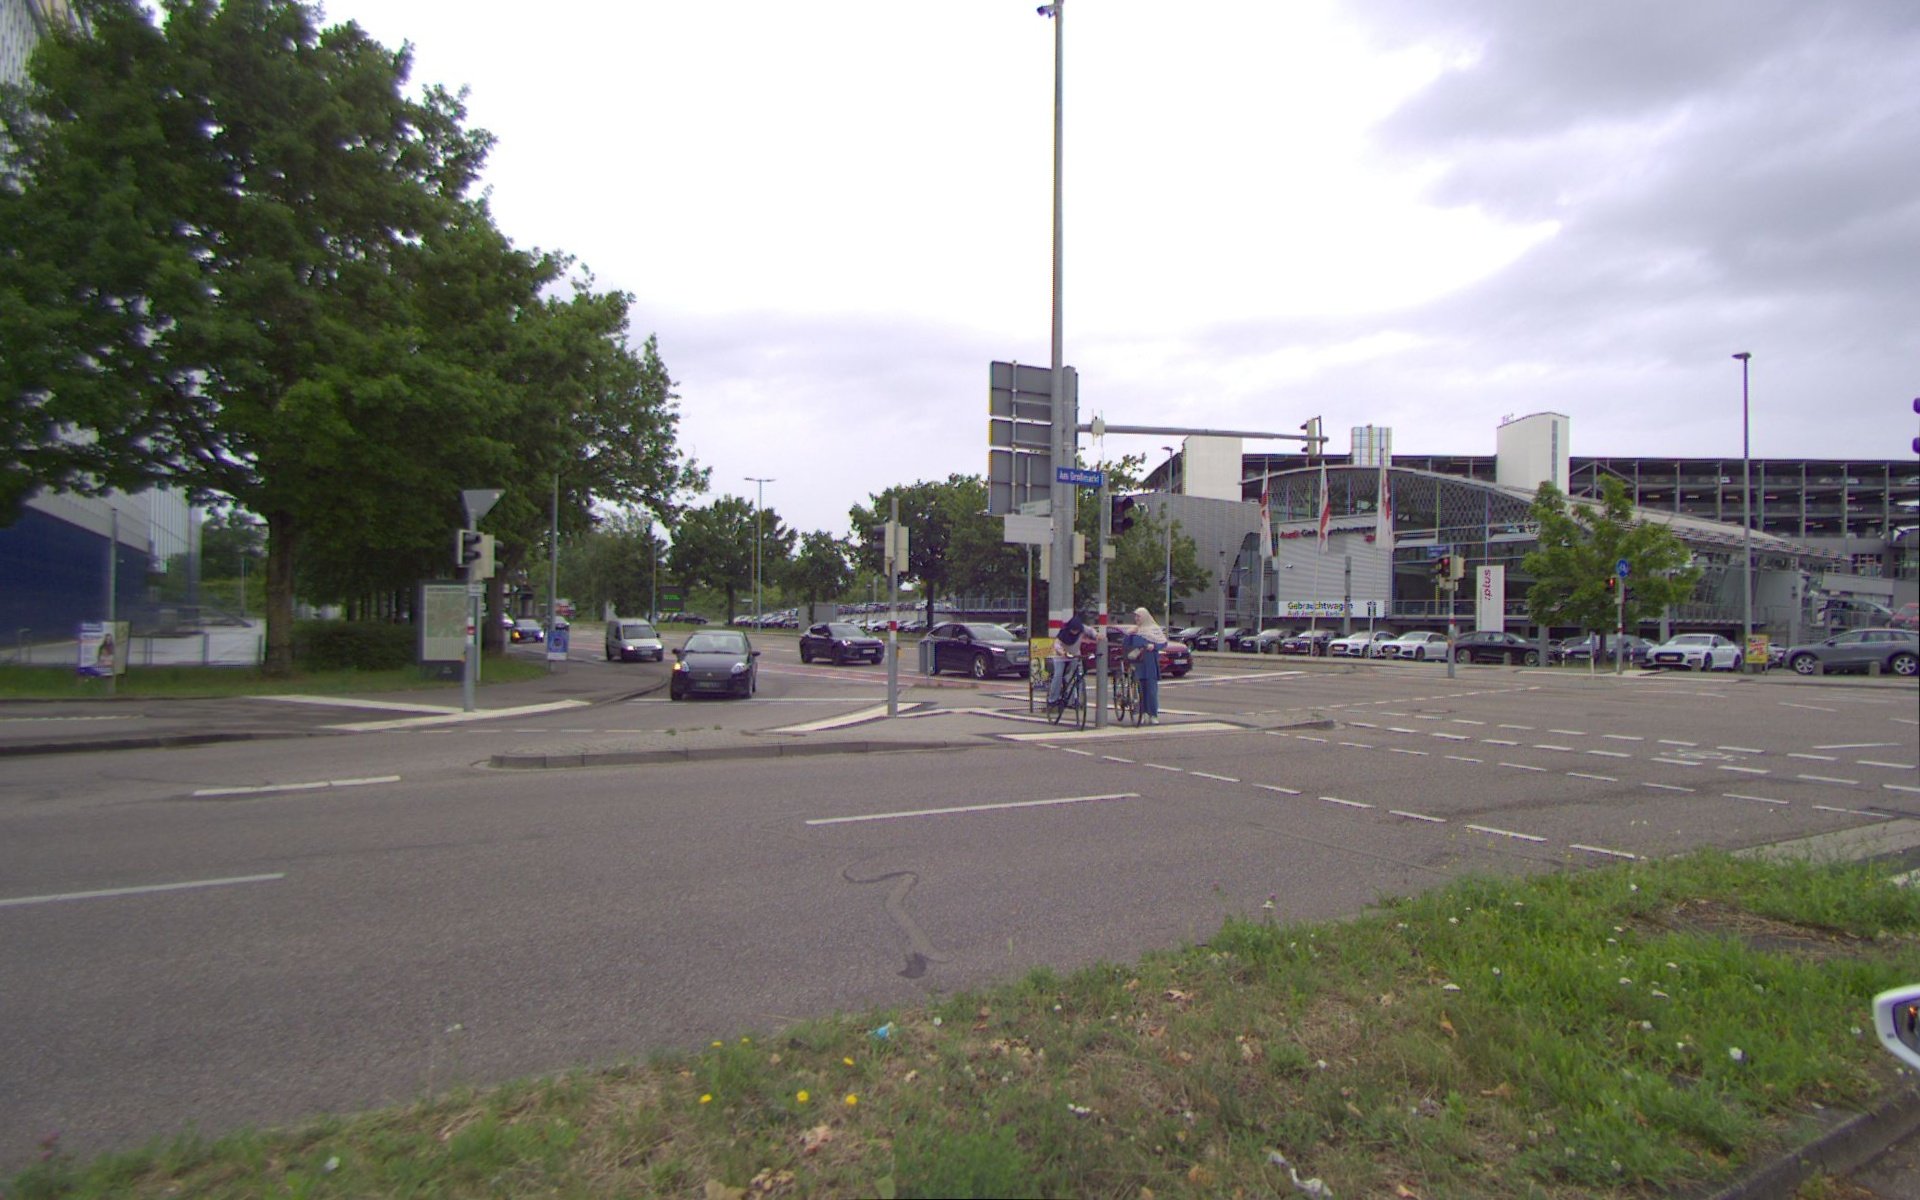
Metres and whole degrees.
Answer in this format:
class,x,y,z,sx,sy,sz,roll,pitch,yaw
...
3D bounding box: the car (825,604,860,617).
class,x,y,z,sx,sy,sz,roll,pitch,yaw
car,-15.217,1.380,130.019,4.058,1.455,1.713,3,0,-35

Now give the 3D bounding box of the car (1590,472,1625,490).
class,x,y,z,sx,sy,sz,roll,pitch,yaw
car,82.955,-15.225,128.659,1.960,1.689,4.001,2,0,2

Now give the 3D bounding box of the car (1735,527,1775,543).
class,x,y,z,sx,sy,sz,roll,pitch,yaw
car,101.005,-8.283,127.619,1.960,1.689,4.001,2,0,2

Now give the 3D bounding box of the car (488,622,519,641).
class,x,y,z,sx,sy,sz,roll,pitch,yaw
car,-44.677,3.087,98.230,1.979,1.616,4.534,-3,2,-33

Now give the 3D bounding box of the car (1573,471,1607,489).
class,x,y,z,sx,sy,sz,roll,pitch,yaw
car,80.563,-15.336,128.538,1.960,1.689,4.001,2,0,2

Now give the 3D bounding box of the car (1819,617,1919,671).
class,x,y,z,sx,sy,sz,roll,pitch,yaw
car,36.914,1.735,39.019,2.243,2.040,4.992,2,-3,-34

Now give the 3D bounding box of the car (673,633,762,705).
class,x,y,z,sx,sy,sz,roll,pitch,yaw
car,-5.241,1.452,22.130,1.696,1.389,3.993,0,-1,-11

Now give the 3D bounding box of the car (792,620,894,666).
class,x,y,z,sx,sy,sz,roll,pitch,yaw
car,-4.449,1.574,37.715,1.868,1.565,4.553,-1,-1,-35

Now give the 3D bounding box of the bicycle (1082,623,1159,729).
class,x,y,z,sx,sy,sz,roll,pitch,yaw
bicycle,2.272,1.044,14.444,0.586,1.414,1.932,0,-1,-6

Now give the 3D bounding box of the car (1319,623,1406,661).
class,x,y,z,sx,sy,sz,roll,pitch,yaw
car,19.089,1.992,47.556,4.003,1.505,1.860,5,-3,-33

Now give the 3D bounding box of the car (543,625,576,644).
class,x,y,z,sx,sy,sz,roll,pitch,yaw
car,-35.590,3.052,89.202,1.843,1.481,4.291,-1,1,-34

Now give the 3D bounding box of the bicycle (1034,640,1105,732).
class,x,y,z,sx,sy,sz,roll,pitch,yaw
bicycle,1.515,1.168,14.142,0.499,1.181,1.945,3,-2,-7

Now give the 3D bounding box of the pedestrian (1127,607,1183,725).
class,x,y,z,sx,sy,sz,roll,pitch,yaw
pedestrian,2.794,0.939,14.426,0.628,1.648,0.692,0,-2,-3

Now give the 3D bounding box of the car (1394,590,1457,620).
class,x,y,z,sx,sy,sz,roll,pitch,yaw
car,29.264,0.345,63.093,3.961,1.684,1.807,3,0,-35

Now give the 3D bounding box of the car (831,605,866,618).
class,x,y,z,sx,sy,sz,roll,pitch,yaw
car,-14.126,1.467,127.553,4.058,1.455,1.713,3,0,-35

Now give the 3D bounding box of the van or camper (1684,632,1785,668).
class,x,y,z,sx,sy,sz,roll,pitch,yaw
van or camper,42.352,2.719,54.995,1.828,1.734,3.962,3,0,-33

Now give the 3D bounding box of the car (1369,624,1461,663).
class,x,y,z,sx,sy,sz,roll,pitch,yaw
car,20.626,1.962,45.503,4.155,1.505,1.836,5,-3,-33

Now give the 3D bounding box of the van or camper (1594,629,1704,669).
class,x,y,z,sx,sy,sz,roll,pitch,yaw
van or camper,33.478,2.365,48.909,1.979,1.699,3.962,3,0,-33

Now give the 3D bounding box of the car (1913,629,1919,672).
class,x,y,z,sx,sy,sz,roll,pitch,yaw
car,47.884,2.368,46.684,1.980,2.040,4.863,2,-3,-34

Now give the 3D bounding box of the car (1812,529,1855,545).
class,x,y,z,sx,sy,sz,roll,pitch,yaw
car,111.123,-7.980,127.842,1.960,1.689,4.001,2,0,2

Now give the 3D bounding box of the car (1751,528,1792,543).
class,x,y,z,sx,sy,sz,roll,pitch,yaw
car,103.169,-8.186,127.734,1.960,1.689,4.001,2,0,2

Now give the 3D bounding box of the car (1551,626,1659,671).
class,x,y,z,sx,sy,sz,roll,pitch,yaw
car,25.137,1.894,39.093,4.474,1.505,2.050,5,-4,-35

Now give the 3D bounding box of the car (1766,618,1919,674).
class,x,y,z,sx,sy,sz,roll,pitch,yaw
car,32.244,1.656,36.079,1.980,1.887,4.743,2,-3,-34

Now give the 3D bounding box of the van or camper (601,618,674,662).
class,x,y,z,sx,sy,sz,roll,pitch,yaw
van or camper,-13.629,1.691,42.286,1.978,1.744,4.358,1,-3,-31

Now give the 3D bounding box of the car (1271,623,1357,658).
class,x,y,z,sx,sy,sz,roll,pitch,yaw
car,17.576,2.019,49.843,4.188,1.505,1.854,5,-3,-33

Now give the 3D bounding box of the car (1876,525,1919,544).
class,x,y,z,sx,sy,sz,roll,pitch,yaw
car,121.032,-8.376,128.854,2.168,1.971,5.330,2,0,-1

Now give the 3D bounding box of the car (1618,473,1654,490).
class,x,y,z,sx,sy,sz,roll,pitch,yaw
car,86.134,-15.081,127.982,1.960,1.689,4.001,2,0,2

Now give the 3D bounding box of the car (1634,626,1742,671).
class,x,y,z,sx,sy,sz,roll,pitch,yaw
car,26.666,1.780,36.746,4.185,1.505,1.858,4,-3,-33

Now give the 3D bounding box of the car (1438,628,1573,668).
class,x,y,z,sx,sy,sz,roll,pitch,yaw
car,23.003,2.000,42.528,1.873,1.505,4.713,5,-3,-32

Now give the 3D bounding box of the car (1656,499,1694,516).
class,x,y,z,sx,sy,sz,roll,pitch,yaw
car,90.847,-11.710,127.661,1.960,1.689,4.001,2,0,2

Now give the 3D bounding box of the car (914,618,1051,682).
class,x,y,z,sx,sy,sz,roll,pitch,yaw
car,0.582,1.410,29.733,1.867,1.659,4.291,-2,0,-35

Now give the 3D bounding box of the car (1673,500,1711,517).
class,x,y,z,sx,sy,sz,roll,pitch,yaw
car,93.031,-11.614,127.778,1.960,1.689,4.001,2,0,2

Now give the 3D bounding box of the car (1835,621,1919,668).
class,x,y,z,sx,sy,sz,roll,pitch,yaw
car,38.937,1.820,40.720,2.034,1.900,4.913,3,-4,-36

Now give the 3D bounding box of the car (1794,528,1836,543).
class,x,y,z,sx,sy,sz,roll,pitch,yaw
car,108.516,-8.176,127.588,1.960,1.689,4.001,2,0,2

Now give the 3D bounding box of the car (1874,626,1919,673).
class,x,y,z,sx,sy,sz,roll,pitch,yaw
car,43.279,2.178,43.688,1.980,2.040,4.863,2,-3,-34

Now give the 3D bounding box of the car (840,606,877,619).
class,x,y,z,sx,sy,sz,roll,pitch,yaw
car,-12.635,1.598,125.157,4.058,1.455,1.928,3,0,-35

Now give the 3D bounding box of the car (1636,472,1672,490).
class,x,y,z,sx,sy,sz,roll,pitch,yaw
car,88.503,-15.188,128.165,1.960,1.689,4.001,2,0,2

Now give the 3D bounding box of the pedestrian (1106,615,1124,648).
class,x,y,z,sx,sy,sz,roll,pitch,yaw
pedestrian,9.155,1.873,59.338,0.667,1.895,0.712,4,-2,-35

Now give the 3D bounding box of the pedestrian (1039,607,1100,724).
class,x,y,z,sx,sy,sz,roll,pitch,yaw
pedestrian,1.520,0.909,14.046,0.642,1.569,0.649,3,-2,-8

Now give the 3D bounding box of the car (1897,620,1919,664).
class,x,y,z,sx,sy,sz,roll,pitch,yaw
car,45.589,1.896,45.084,1.980,2.040,4.863,2,-3,-34

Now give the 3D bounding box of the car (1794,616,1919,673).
class,x,y,z,sx,sy,sz,roll,pitch,yaw
car,34.373,1.677,37.474,1.980,2.040,4.673,2,-3,-34
